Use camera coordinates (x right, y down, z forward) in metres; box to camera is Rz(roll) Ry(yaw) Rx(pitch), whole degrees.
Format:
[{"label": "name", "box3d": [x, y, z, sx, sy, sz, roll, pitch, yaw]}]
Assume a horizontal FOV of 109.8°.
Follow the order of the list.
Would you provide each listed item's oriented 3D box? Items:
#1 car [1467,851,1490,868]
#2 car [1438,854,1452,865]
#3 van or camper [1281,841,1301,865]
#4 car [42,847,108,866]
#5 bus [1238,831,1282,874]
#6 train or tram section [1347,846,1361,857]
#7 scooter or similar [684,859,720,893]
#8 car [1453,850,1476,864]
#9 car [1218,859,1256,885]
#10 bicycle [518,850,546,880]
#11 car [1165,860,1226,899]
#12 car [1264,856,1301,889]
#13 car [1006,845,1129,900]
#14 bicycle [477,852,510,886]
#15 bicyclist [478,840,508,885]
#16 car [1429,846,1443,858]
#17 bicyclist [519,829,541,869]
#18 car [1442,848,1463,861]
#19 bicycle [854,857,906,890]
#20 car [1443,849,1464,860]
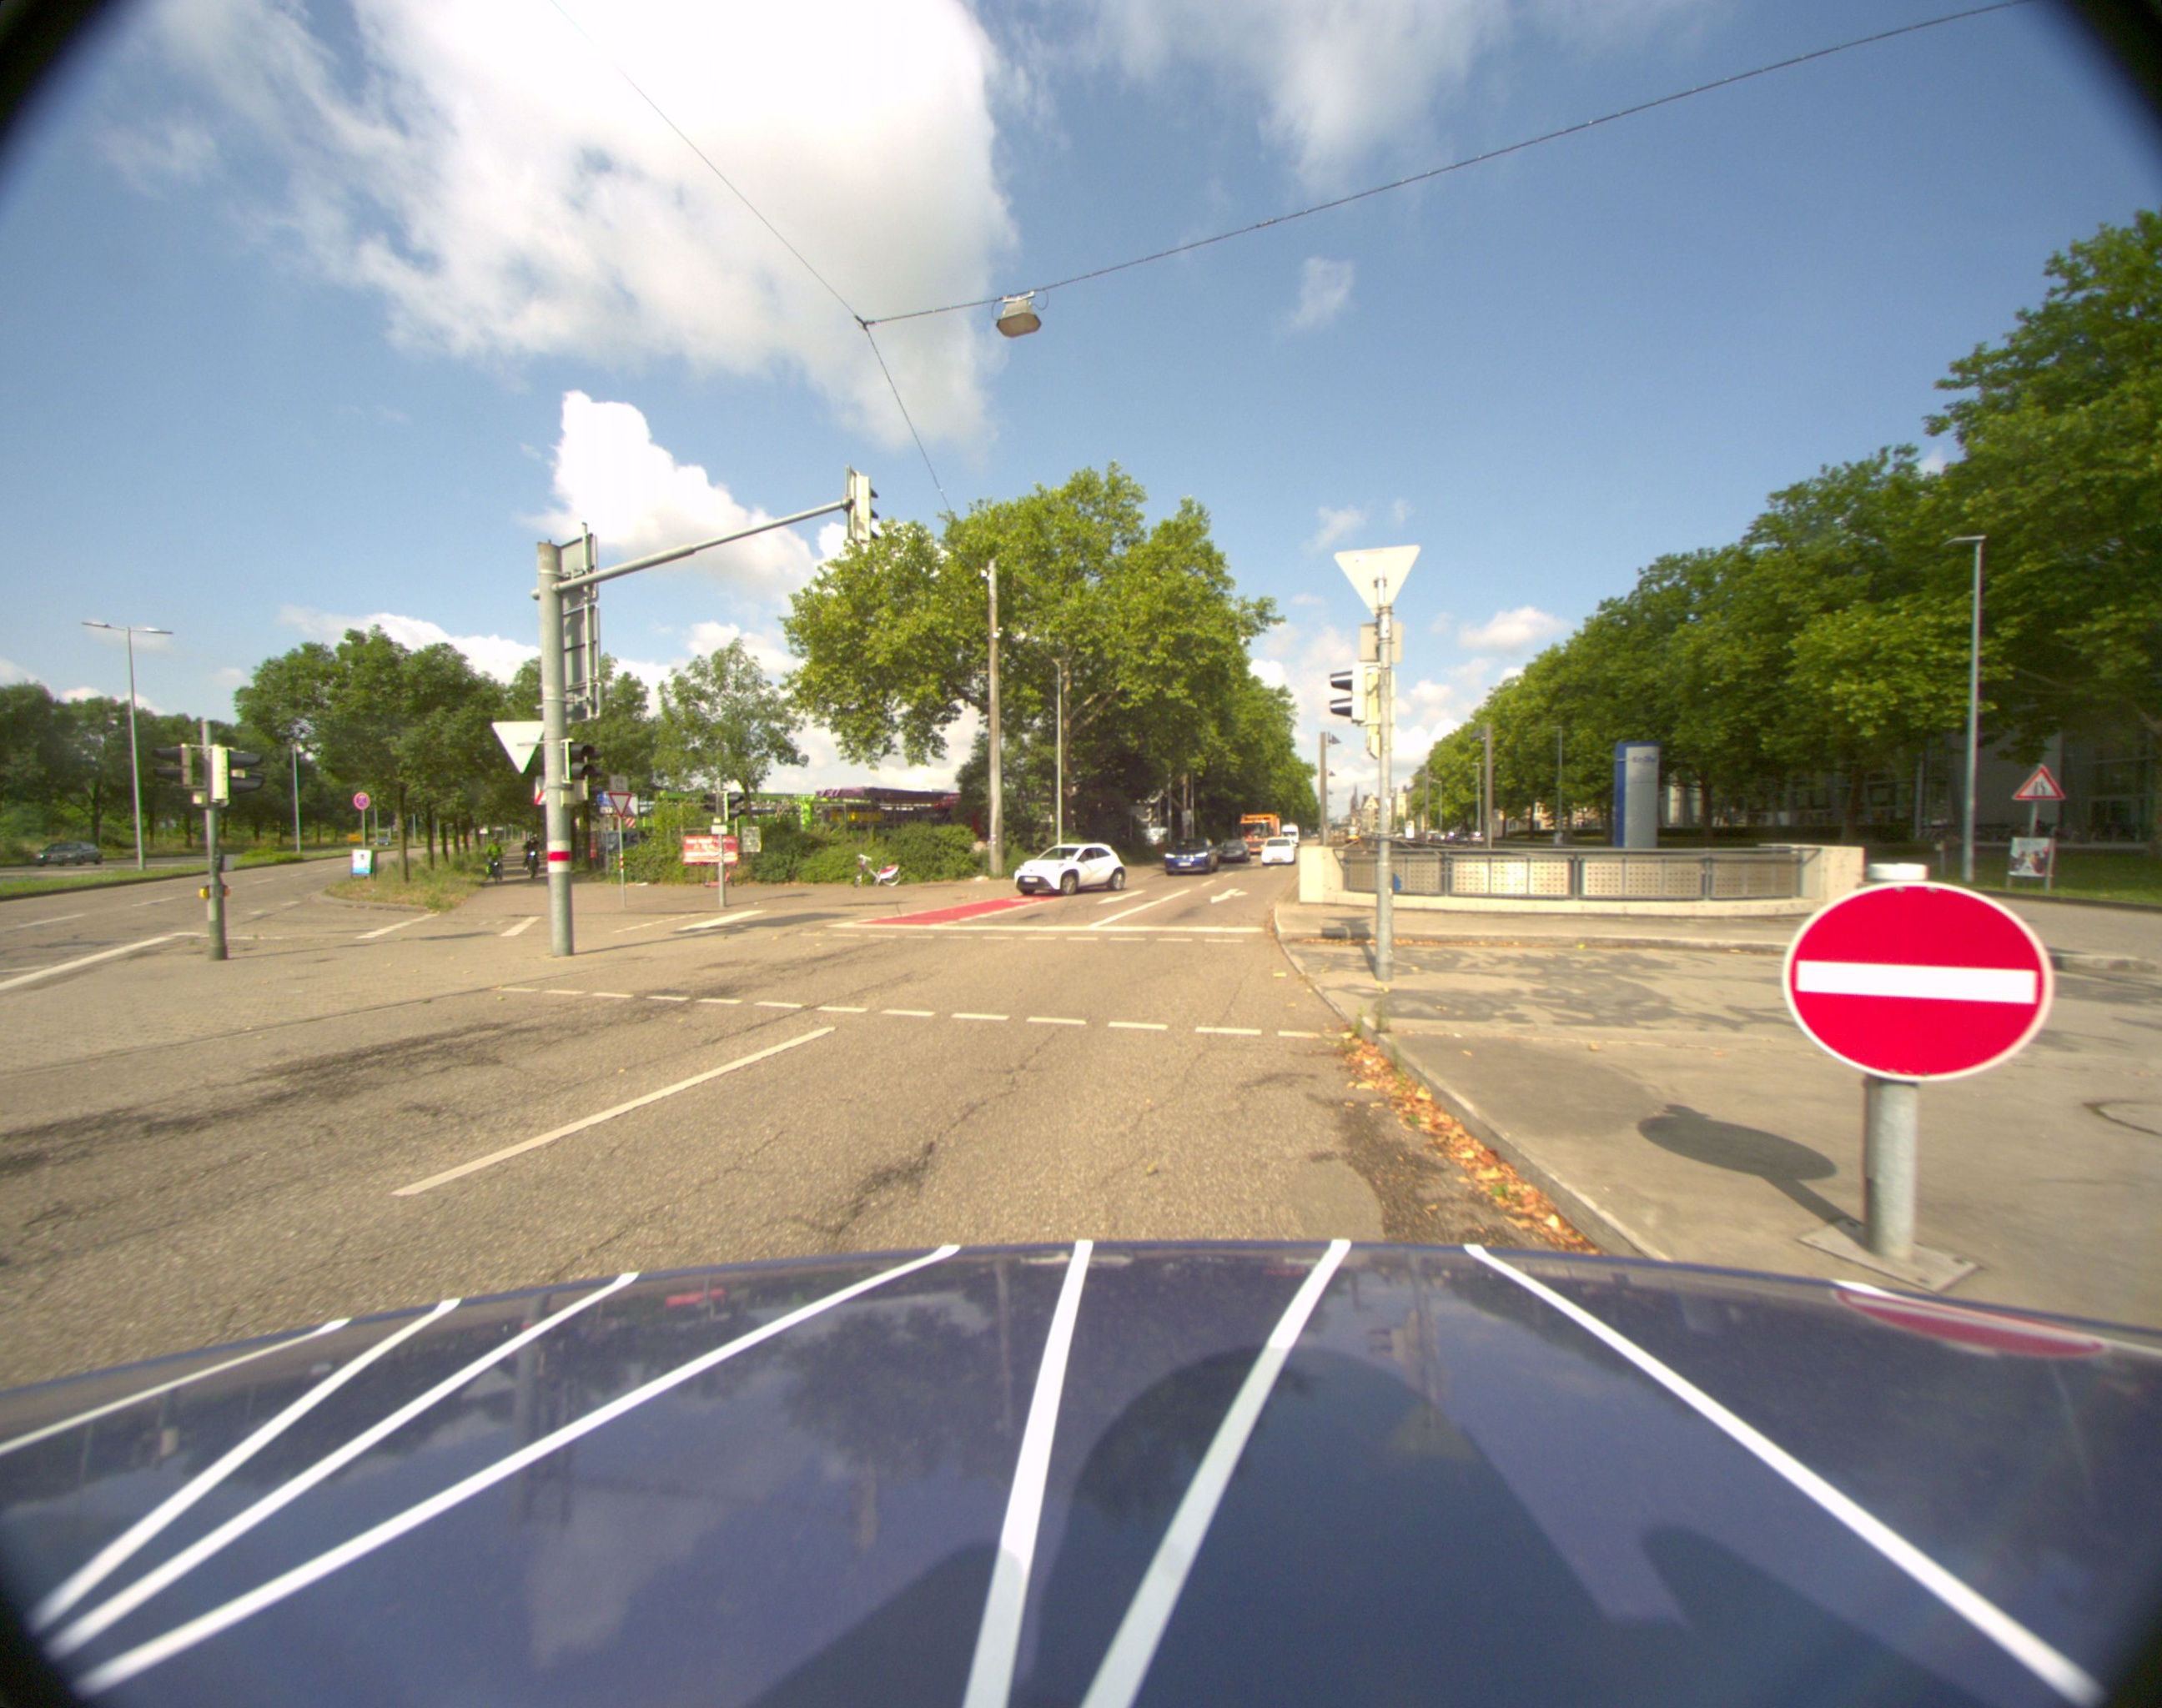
[{"label": "car", "box3d": [37.014, 0.509, 70.816, 1.418, 1.448, 3.161, 2, 1, 18]}, {"label": "car", "box3d": [42.289, 0.637, 88.284, 1.179, 1.236, 2.552, 1, 1, 18]}, {"label": "van or camper", "box3d": [25.306, -0.099, 91.573, 2.160, 2.769, 5.973, 0, 1, 17]}, {"label": "car", "box3d": [-58.884, 0.169, 44.540, 1.548, 1.043, 3.361, 0, -1, -39]}, {"label": "bus", "box3d": [15.451, -0.173, 64.975, 2.740, 3.446, 10.408, 0, 1, 18]}, {"label": "train or tram section", "box3d": [60.006, -0.546, 167.190, 2.213, 2.444, 6.255, -1, 0, 13]}, {"label": "scooter or similar", "box3d": [-12.437, 0.728, 24.962, 1.010, 1.104, 0.409, -1, 1, 12]}, {"label": "car", "box3d": [39.078, 0.283, 77.472, 1.580, 1.426, 3.161, 2, 1, 18]}, {"label": "car", "box3d": [9.644, 1.055, 46.791, 1.769, 1.455, 4.005, -1, 0, 18]}, {"label": "bicycle", "box3d": [-23.332, 0.444, 32.315, 0.793, 1.189, 2.227, -1, 1, -32]}, {"label": "car", "box3d": [5.195, 1.095, 33.935, 1.888, 1.566, 4.587, -2, -1, 18]}, {"label": "car", "box3d": [10.807, 0.951, 40.601, 1.735, 1.477, 3.606, -4, 0, 16]}, {"label": "car", "box3d": [-0.318, 0.491, 22.871, 1.745, 1.471, 3.806, -1, 1, 36]}, {"label": "bicycle", "box3d": [-22.732, 0.589, 29.374, 0.679, 1.189, 2.227, -6, 2, -43]}, {"label": "bicyclist", "box3d": [-22.785, 0.341, 29.435, 0.679, 1.670, 0.835, -6, 3, -44]}, {"label": "car", "box3d": [43.149, -0.222, 92.363, 1.165, 1.368, 2.749, 2, 1, 18]}, {"label": "bicyclist", "box3d": [-23.403, -0.212, 32.287, 0.679, 1.676, 0.753, -2, 2, -32]}, {"label": "car", "box3d": [41.071, 0.049, 83.999, 1.577, 1.368, 3.901, 2, 1, 19]}, {"label": "bicycle", "box3d": [-6.770, 0.644, 25.616, 1.637, 1.037, 0.527, -1, 5, -10]}, {"label": "car", "box3d": [41.074, 0.012, 83.862, 1.609, 1.198, 3.132, 1, 1, 17]}]
